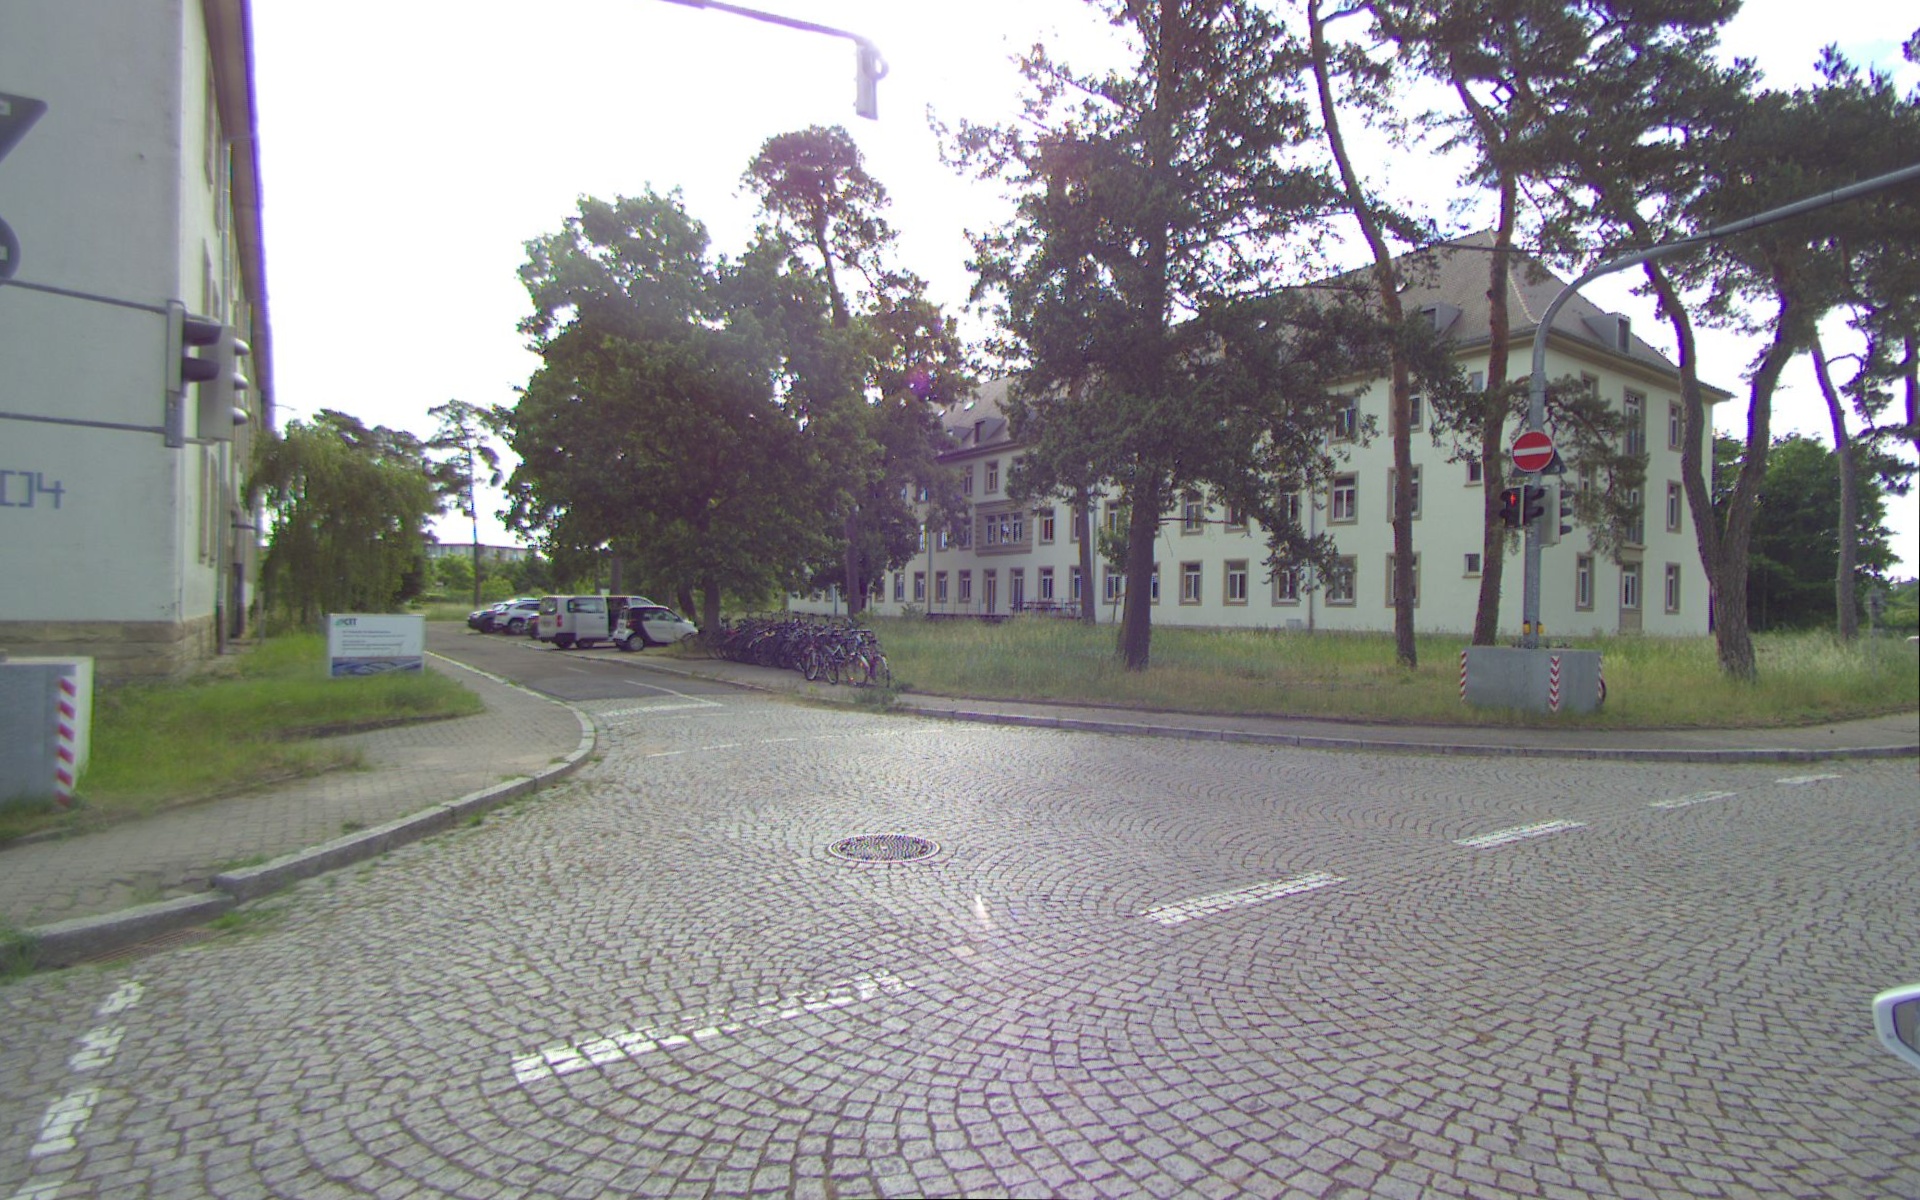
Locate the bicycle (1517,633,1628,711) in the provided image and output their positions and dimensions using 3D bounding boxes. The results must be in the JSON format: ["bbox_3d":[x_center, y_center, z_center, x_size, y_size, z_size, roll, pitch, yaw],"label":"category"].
[{"bbox_3d":[9.557,1.103,15.714,0.493,1.089,1.401,-2,2,-37],"label":"bicycle"}]

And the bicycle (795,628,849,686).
[{"bbox_3d":[-2.799,1.134,20.272,0.493,1.052,1.403,-2,2,-35],"label":"bicycle"}]

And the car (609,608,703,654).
[{"bbox_3d":[-10.423,1.047,34.473,2.746,1.435,1.576,-1,1,-36],"label":"car"}]

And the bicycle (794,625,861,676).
[{"bbox_3d":[-2.995,1.134,22.779,1.445,1.052,0.492,-2,2,-40],"label":"bicycle"}]

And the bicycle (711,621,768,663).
[{"bbox_3d":[-5.985,1.123,27.265,1.445,1.052,0.492,-2,2,-40],"label":"bicycle"}]

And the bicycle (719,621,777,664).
[{"bbox_3d":[-5.657,1.113,26.864,1.445,1.052,0.492,-2,2,-40],"label":"bicycle"}]

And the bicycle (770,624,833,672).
[{"bbox_3d":[-3.811,1.129,24.165,1.445,1.052,0.492,-2,2,-40],"label":"bicycle"}]

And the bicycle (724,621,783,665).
[{"bbox_3d":[-5.413,1.111,26.397,1.445,1.052,0.492,-2,2,-40],"label":"bicycle"}]

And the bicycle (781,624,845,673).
[{"bbox_3d":[-3.464,1.139,23.702,1.445,1.052,0.492,-2,2,-40],"label":"bicycle"}]

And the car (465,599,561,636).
[{"bbox_3d":[-22.615,0.896,50.919,4.063,1.790,1.807,2,1,-43],"label":"car"}]

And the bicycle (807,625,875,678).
[{"bbox_3d":[-2.604,1.121,22.091,1.446,1.052,0.491,-2,2,-42],"label":"bicycle"}]

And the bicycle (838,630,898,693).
[{"bbox_3d":[-1.758,1.145,19.061,0.493,1.089,1.403,-2,2,-35],"label":"bicycle"}]

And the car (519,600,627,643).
[{"bbox_3d":[-17.029,0.963,44.324,4.063,1.743,1.836,2,1,-43],"label":"car"}]

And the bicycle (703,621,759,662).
[{"bbox_3d":[-6.292,1.125,27.623,1.445,1.052,0.492,-2,2,-40],"label":"bicycle"}]

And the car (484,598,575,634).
[{"bbox_3d":[-22.945,0.858,53.582,4.063,1.790,1.807,2,1,-43],"label":"car"}]

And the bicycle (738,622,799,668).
[{"bbox_3d":[-4.843,1.122,25.439,1.445,1.052,0.492,-2,2,-40],"label":"bicycle"}]

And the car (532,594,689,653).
[{"bbox_3d":[-12.732,0.800,36.892,2.007,1.942,5.143,0,1,42],"label":"car"}]

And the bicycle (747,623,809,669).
[{"bbox_3d":[-4.535,1.136,25.059,1.445,1.052,0.492,-2,2,-40],"label":"bicycle"}]

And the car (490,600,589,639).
[{"bbox_3d":[-20.333,0.969,48.653,4.063,1.743,1.836,2,1,-43],"label":"car"}]

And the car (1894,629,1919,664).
[{"bbox_3d":[47.348,2.257,48.882,4.011,1.632,1.702,1,1,-31],"label":"car"}]

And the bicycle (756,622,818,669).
[{"bbox_3d":[-4.249,1.110,24.693,1.445,1.052,0.492,-2,2,-40],"label":"bicycle"}]

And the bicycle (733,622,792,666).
[{"bbox_3d":[-5.109,1.120,26.017,1.445,1.052,0.492,-2,2,-40],"label":"bicycle"}]
